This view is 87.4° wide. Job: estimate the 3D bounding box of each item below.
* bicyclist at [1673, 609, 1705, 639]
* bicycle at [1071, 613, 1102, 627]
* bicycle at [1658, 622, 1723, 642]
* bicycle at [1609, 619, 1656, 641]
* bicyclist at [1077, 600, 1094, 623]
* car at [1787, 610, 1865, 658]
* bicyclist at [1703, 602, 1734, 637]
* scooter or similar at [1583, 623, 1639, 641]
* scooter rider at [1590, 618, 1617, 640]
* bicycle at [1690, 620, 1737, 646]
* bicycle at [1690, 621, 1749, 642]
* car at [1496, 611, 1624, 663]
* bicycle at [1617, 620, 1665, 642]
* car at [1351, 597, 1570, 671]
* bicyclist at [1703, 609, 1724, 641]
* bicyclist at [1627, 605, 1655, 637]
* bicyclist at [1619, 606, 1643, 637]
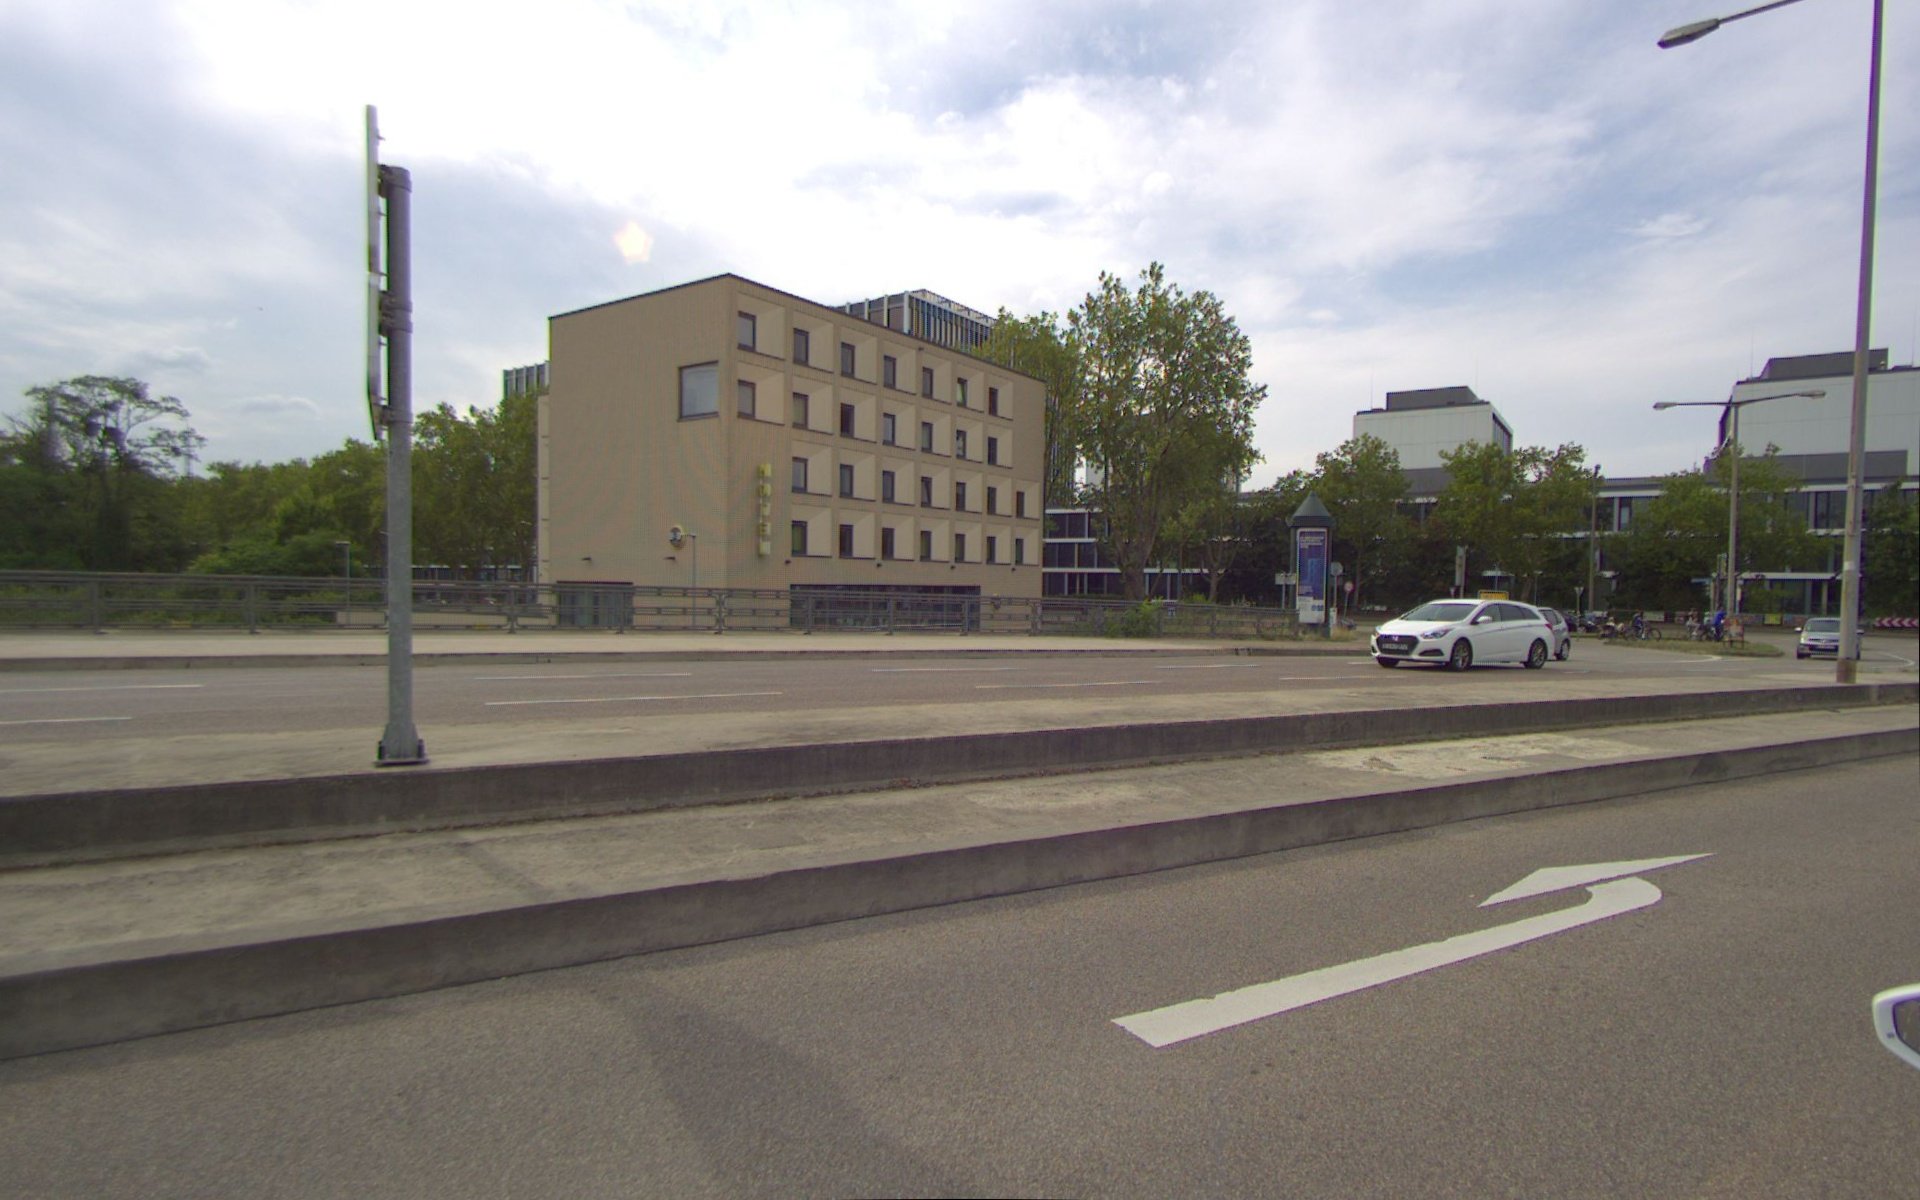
[{"bbox_3d":[36.844,1.212,50.765,1.094,1.456,0.648,1,1,12],"label":"bicyclist"},{"bbox_3d":[9.025,1.442,71.668,2.086,0.921,0.738,2,0,38],"label":"bicycle"},{"bbox_3d":[36.896,1.606,50.745,2.539,0.902,0.705,1,1,12],"label":"bicycle"},{"bbox_3d":[34.473,1.522,51.535,1.869,1.027,0.628,2,1,17],"label":"bicycle"},{"bbox_3d":[8.985,0.828,71.694,0.906,1.636,0.739,2,0,38],"label":"bicyclist"},{"bbox_3d":[32.298,1.262,37.442,4.049,1.680,1.726,3,-1,-42],"label":"car"},{"bbox_3d":[36.681,0.947,48.576,0.866,1.678,0.812,1,0,4],"label":"bicyclist"},{"bbox_3d":[34.312,1.678,52.987,2.338,0.861,0.809,1,1,9],"label":"scooter or similar"},{"bbox_3d":[33.967,1.525,53.042,0.898,1.152,0.809,1,1,9],"label":"scooter rider"},{"bbox_3d":[38.484,1.697,51.315,1.875,1.226,0.641,2,1,35],"label":"bicycle"},{"bbox_3d":[36.728,1.514,48.578,2.190,0.965,0.812,2,0,3],"label":"bicycle"},{"bbox_3d":[18.097,1.115,30.244,3.989,1.434,1.797,2,-1,-35],"label":"car"},{"bbox_3d":[34.308,1.556,50.601,1.870,1.027,0.628,2,1,22],"label":"bicycle"},{"bbox_3d":[10.809,0.696,21.594,4.824,1.434,1.909,1,0,-30],"label":"car"},{"bbox_3d":[38.477,1.283,51.304,0.769,1.602,0.653,2,1,34],"label":"bicyclist"},{"bbox_3d":[34.295,1.049,50.593,0.999,1.560,0.628,2,1,21],"label":"bicyclist"},{"bbox_3d":[34.438,1.090,51.537,0.824,1.550,0.628,2,1,17],"label":"bicyclist"}]
